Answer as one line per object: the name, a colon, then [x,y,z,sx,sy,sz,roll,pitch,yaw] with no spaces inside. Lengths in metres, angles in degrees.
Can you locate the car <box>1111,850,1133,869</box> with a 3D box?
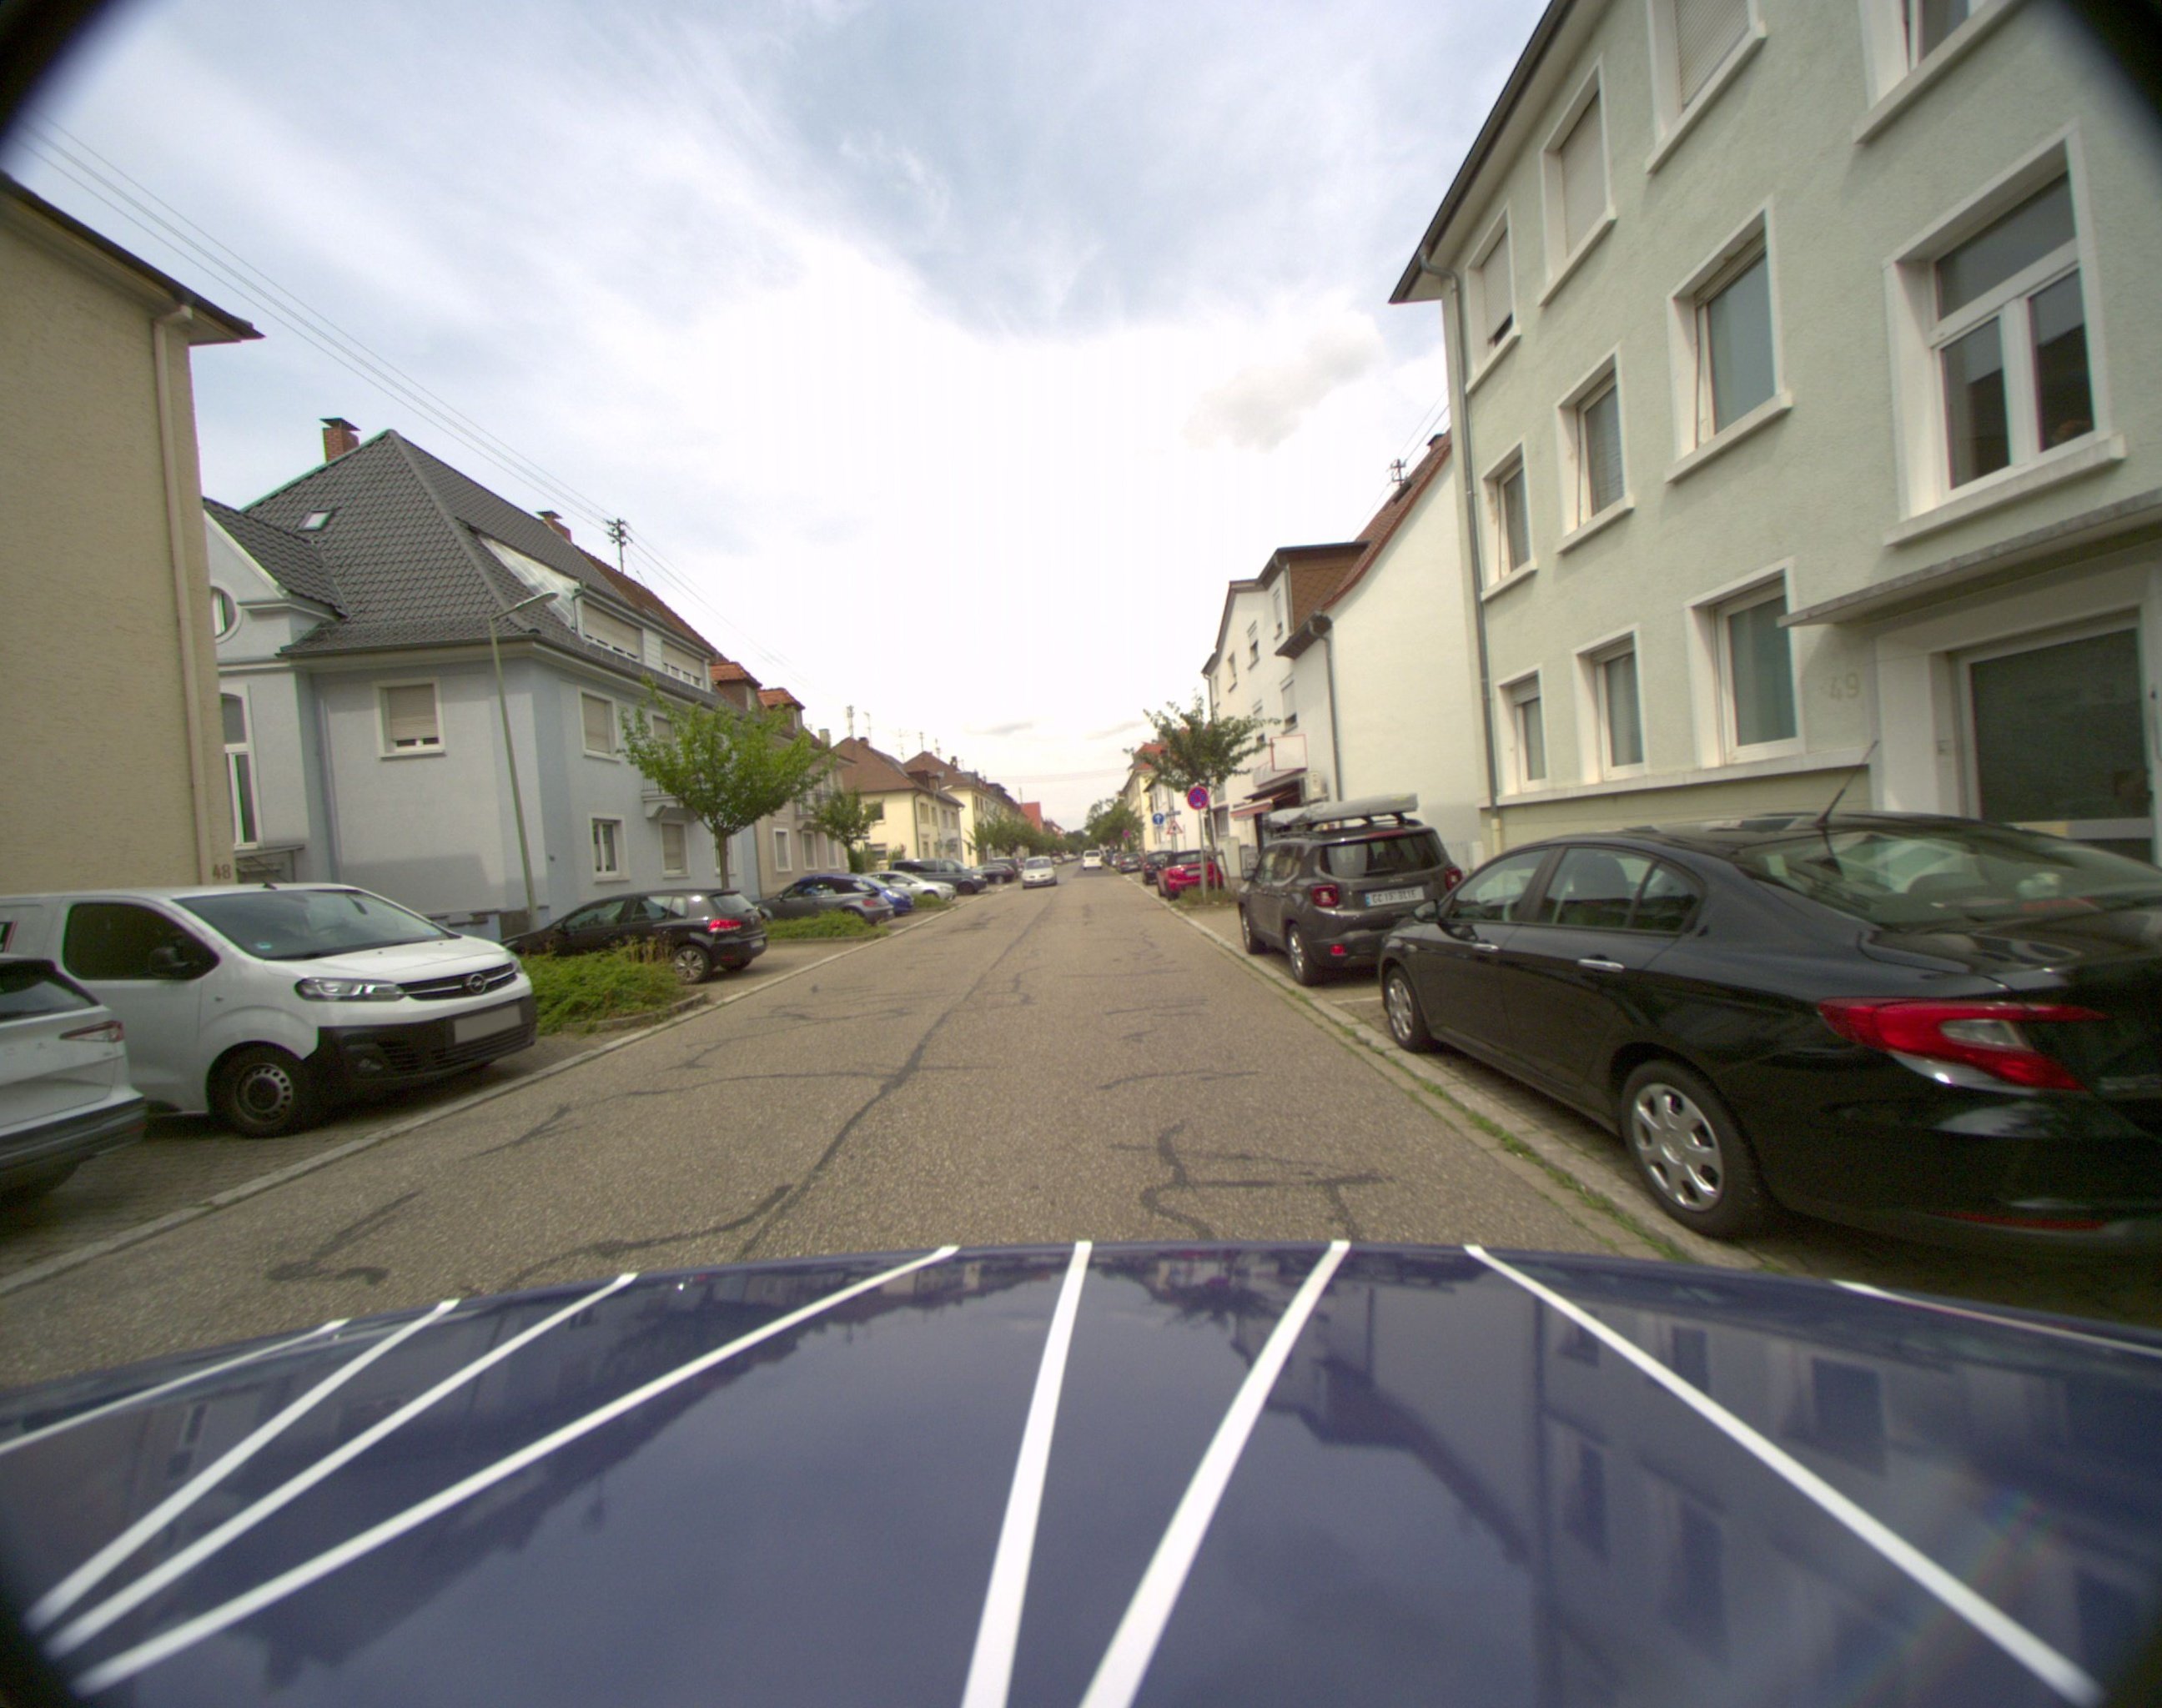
car: [3.502,0.468,65.257,1.711,1.495,3.443,-2,1,1]

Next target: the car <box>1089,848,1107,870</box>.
car: [1.744,0.474,78.336,1.757,2.098,3.620,-2,1,1]

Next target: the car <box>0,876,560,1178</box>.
car: [-7.253,1.258,6.122,4.750,1.899,1.850,-2,1,1]

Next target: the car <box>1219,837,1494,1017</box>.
car: [3.039,0.677,9.432,1.697,1.573,4.248,-6,1,-1]

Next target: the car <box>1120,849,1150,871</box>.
car: [3.706,0.398,52.818,1.711,1.439,3.442,-2,1,-1]

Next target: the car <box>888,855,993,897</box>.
car: [-6.873,1.084,37.517,4.719,1.817,1.870,-2,1,1]

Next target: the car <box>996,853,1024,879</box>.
car: [-5.464,0.903,58.660,1.646,1.816,3.443,-5,0,0]

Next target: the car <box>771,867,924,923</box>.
car: [-7.676,1.333,25.244,4.401,1.603,1.871,-2,1,6]

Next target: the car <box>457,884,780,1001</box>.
car: [-7.332,1.366,12.351,4.119,1.528,1.710,-2,1,0]

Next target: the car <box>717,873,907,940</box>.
car: [-7.103,1.366,20.376,4.403,1.491,1.710,-2,1,0]

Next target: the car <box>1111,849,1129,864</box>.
car: [4.131,0.247,81.015,1.711,1.495,3.443,-2,1,1]

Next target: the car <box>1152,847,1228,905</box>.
car: [3.333,0.605,23.934,1.711,1.591,4.115,-2,1,-1]

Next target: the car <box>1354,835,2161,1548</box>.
car: [2.948,0.717,3.778,1.706,1.533,4.249,-2,1,1]

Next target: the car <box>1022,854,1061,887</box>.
car: [-2.074,0.856,40.924,1.831,1.565,3.999,-2,1,1]

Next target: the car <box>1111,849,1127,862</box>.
car: [4.444,0.155,88.851,1.625,1.495,3.443,-2,1,1]

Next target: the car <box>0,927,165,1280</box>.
car: [-7.511,1.347,3.484,4.318,1.674,1.850,-2,1,1]

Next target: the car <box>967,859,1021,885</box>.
car: [-5.991,1.214,52.476,3.441,1.438,1.647,-5,1,-2]

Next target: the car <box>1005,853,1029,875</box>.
car: [-5.497,0.832,65.301,1.646,1.666,3.443,-5,0,0]

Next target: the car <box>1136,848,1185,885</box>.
car: [3.512,0.511,34.009,1.711,1.477,3.442,-2,1,-1]

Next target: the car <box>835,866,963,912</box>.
car: [-6.952,1.322,29.345,4.403,1.528,1.870,-2,1,1]
